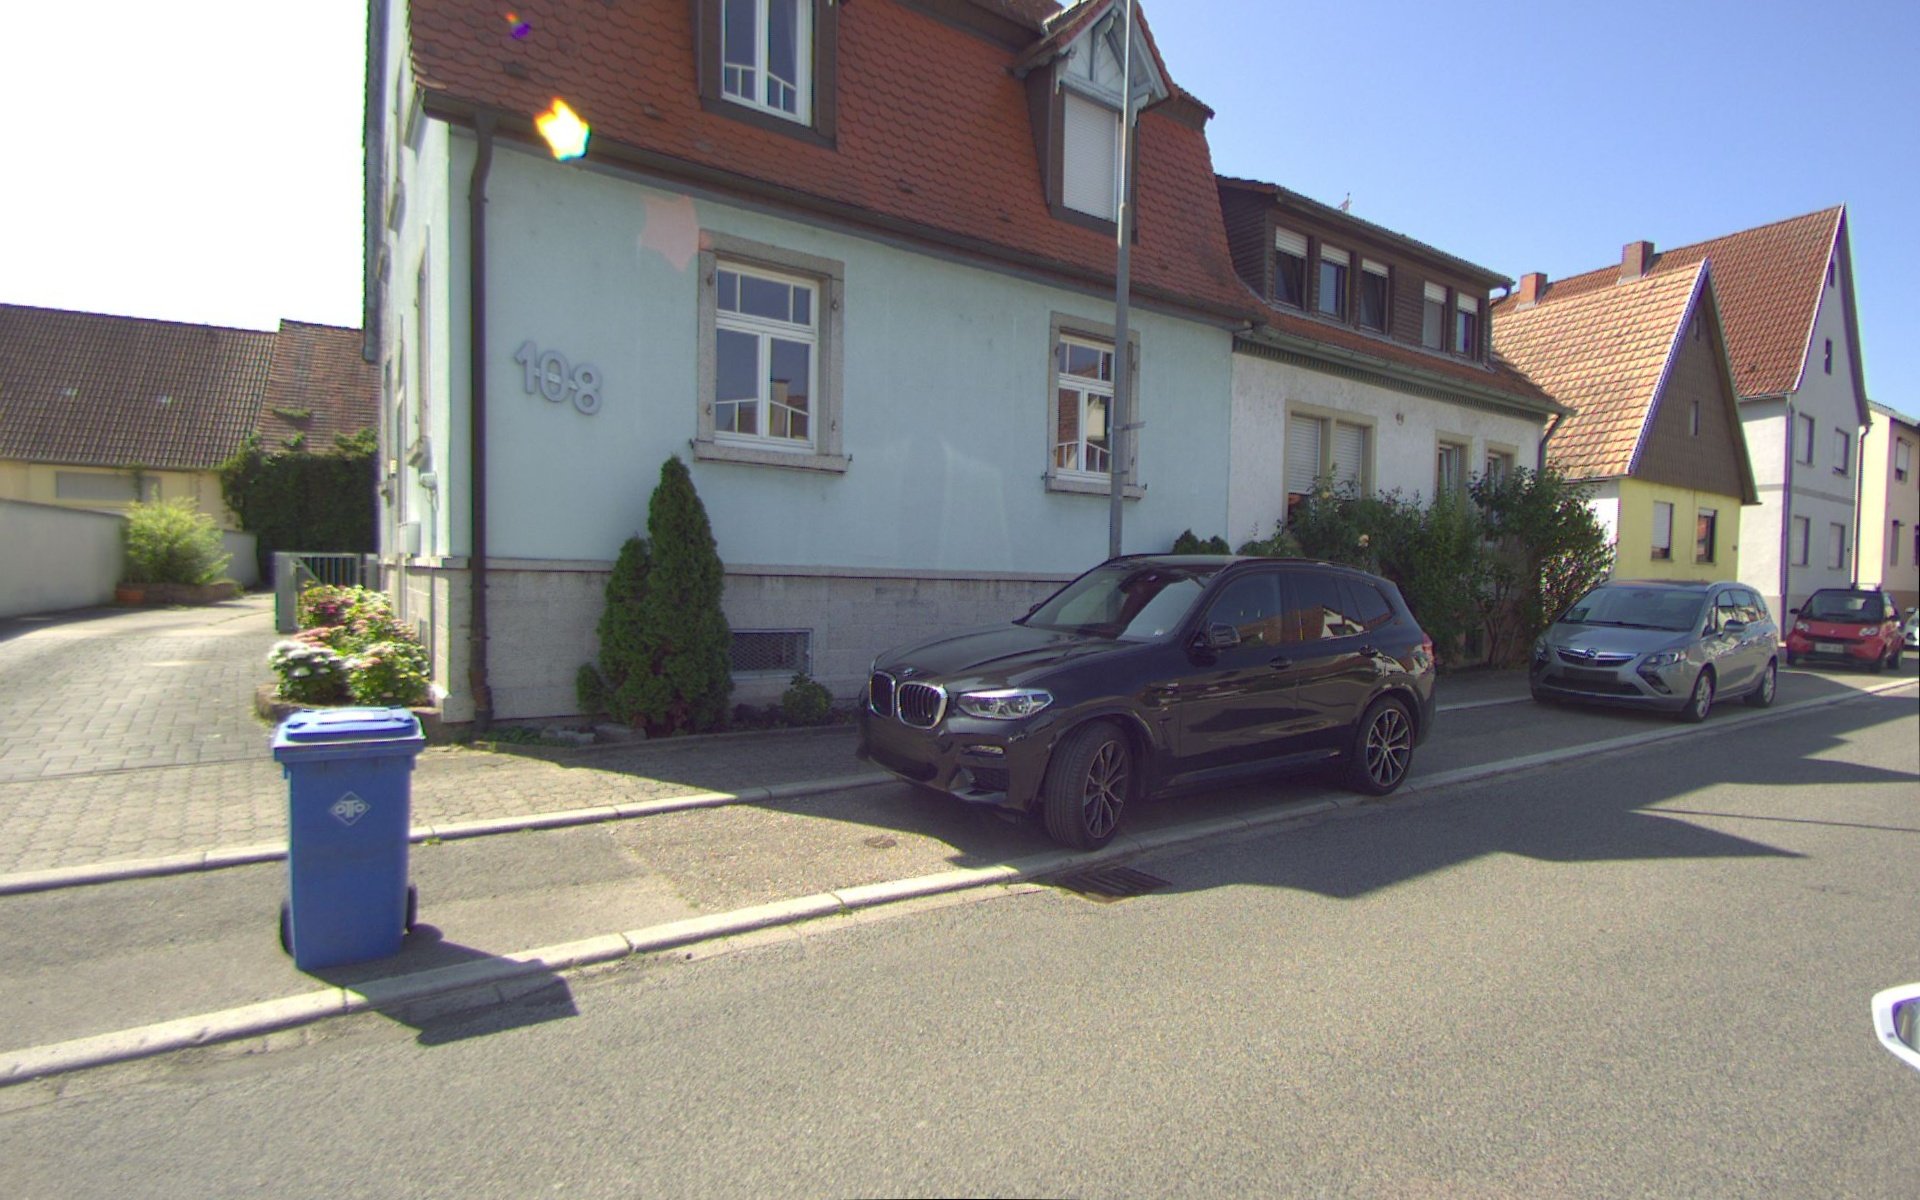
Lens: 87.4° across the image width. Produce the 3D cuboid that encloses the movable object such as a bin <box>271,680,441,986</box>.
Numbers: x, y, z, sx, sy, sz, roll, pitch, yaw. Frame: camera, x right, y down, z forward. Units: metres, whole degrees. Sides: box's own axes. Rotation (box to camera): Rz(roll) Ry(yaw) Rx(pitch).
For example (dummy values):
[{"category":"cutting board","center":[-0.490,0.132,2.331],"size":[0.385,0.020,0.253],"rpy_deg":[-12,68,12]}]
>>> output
[{"category":"movable object such as a bin","center":[-2.370,0.854,3.926],"size":[0.526,0.995,0.592],"rpy_deg":[0,3,-35]}]

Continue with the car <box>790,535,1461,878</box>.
[{"category":"car","center":[1.335,0.503,7.089],"size":[4.619,1.690,1.907],"rpy_deg":[1,3,-35]}]

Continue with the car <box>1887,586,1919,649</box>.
[{"category":"car","center":[26.036,0.459,26.297],"size":[4.362,1.568,1.793],"rpy_deg":[0,2,-37]}]

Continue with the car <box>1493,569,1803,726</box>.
[{"category":"car","center":[8.929,0.489,12.892],"size":[4.620,1.659,1.859],"rpy_deg":[0,2,-37]}]

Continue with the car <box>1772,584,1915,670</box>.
[{"category":"car","center":[17.793,0.493,20.217],"size":[2.959,1.565,1.541],"rpy_deg":[0,2,-37]}]
